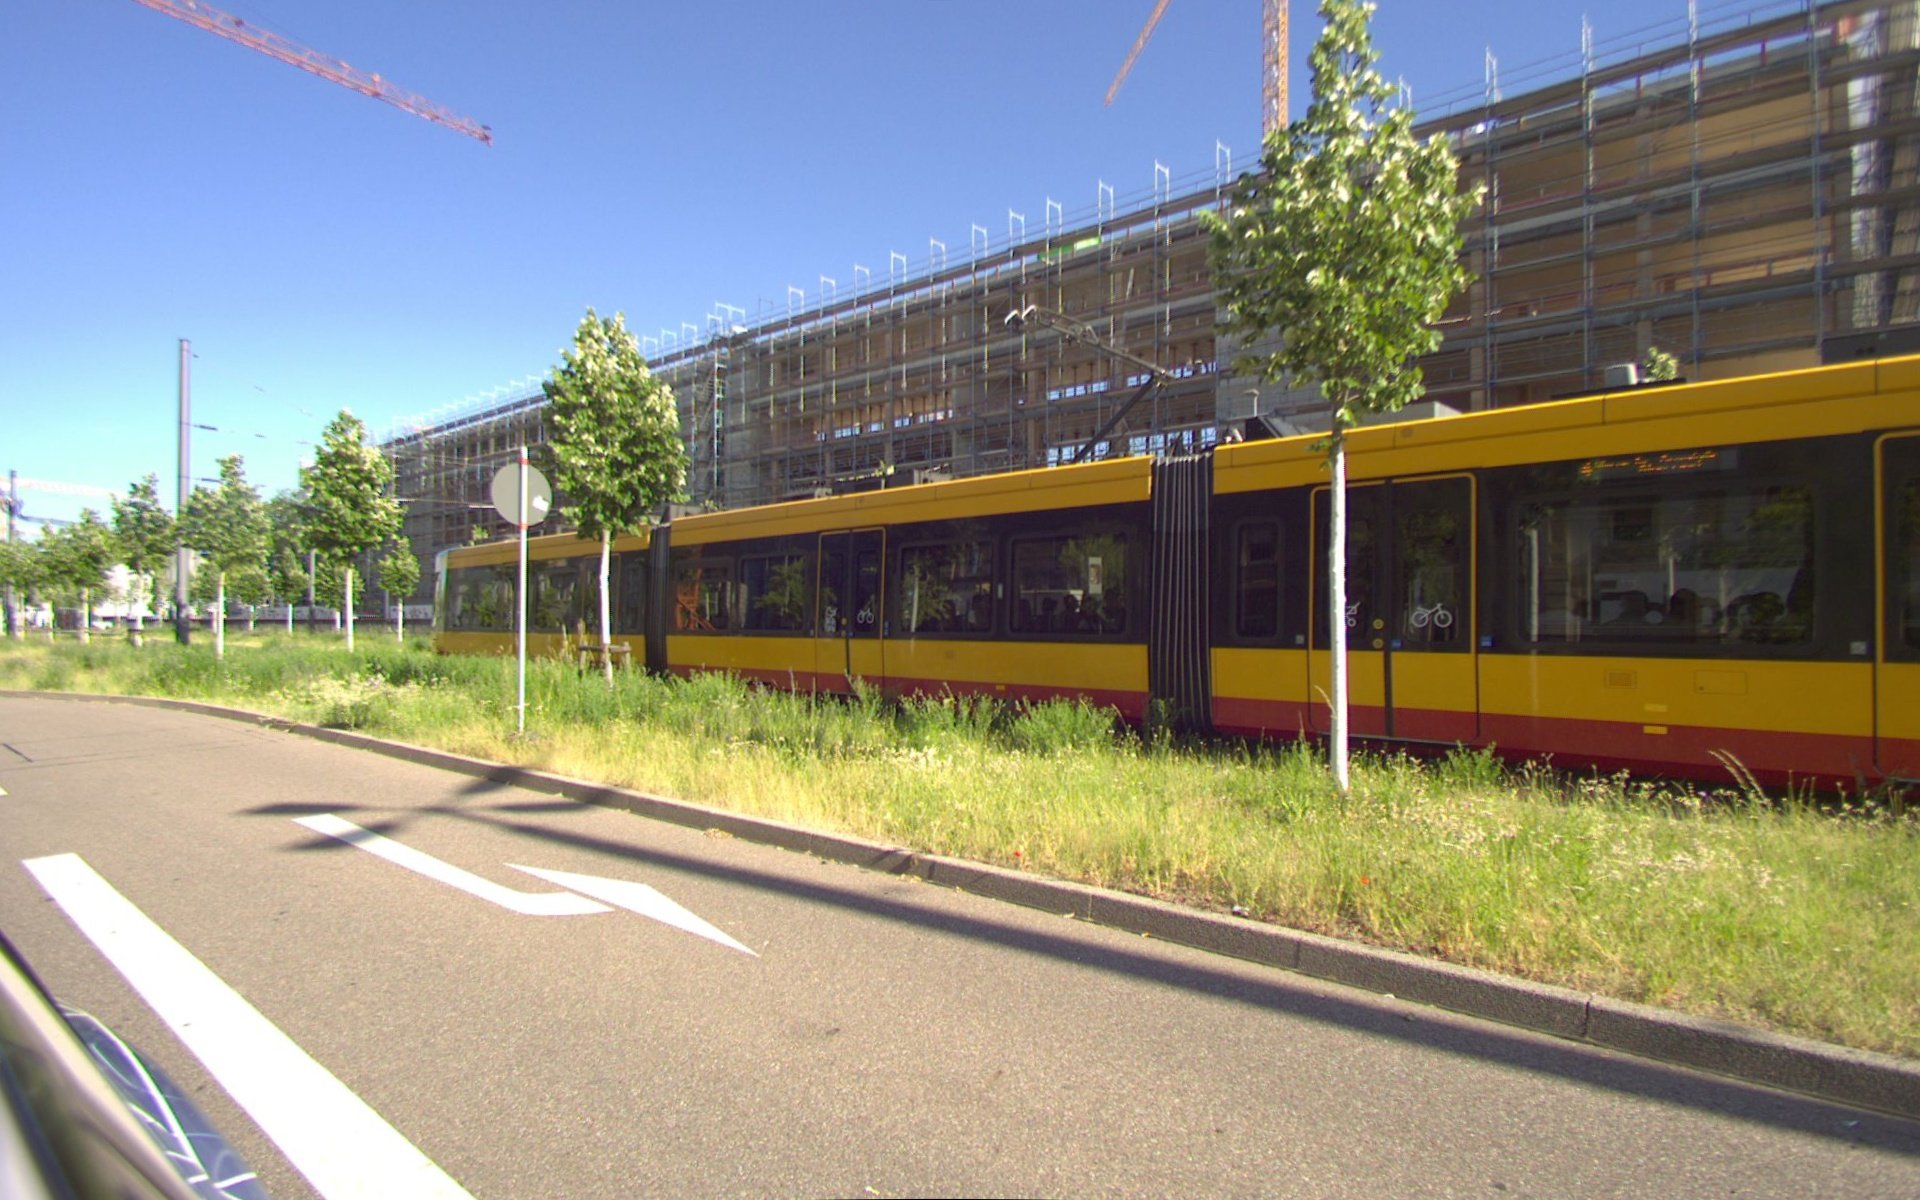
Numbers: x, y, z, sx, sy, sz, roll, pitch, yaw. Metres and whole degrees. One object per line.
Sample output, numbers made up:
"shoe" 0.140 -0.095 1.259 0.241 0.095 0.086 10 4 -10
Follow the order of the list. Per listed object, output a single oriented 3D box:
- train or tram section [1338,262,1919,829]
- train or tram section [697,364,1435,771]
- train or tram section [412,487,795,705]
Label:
"train or tram section" 8.383 -0.386 5.944 11.684 3.697 1.972 -1 0 43
"train or tram section" 0.250 -0.235 13.884 11.321 3.697 1.971 -1 0 45
"train or tram section" -8.805 0.010 22.758 14.155 3.697 1.971 -1 0 44
